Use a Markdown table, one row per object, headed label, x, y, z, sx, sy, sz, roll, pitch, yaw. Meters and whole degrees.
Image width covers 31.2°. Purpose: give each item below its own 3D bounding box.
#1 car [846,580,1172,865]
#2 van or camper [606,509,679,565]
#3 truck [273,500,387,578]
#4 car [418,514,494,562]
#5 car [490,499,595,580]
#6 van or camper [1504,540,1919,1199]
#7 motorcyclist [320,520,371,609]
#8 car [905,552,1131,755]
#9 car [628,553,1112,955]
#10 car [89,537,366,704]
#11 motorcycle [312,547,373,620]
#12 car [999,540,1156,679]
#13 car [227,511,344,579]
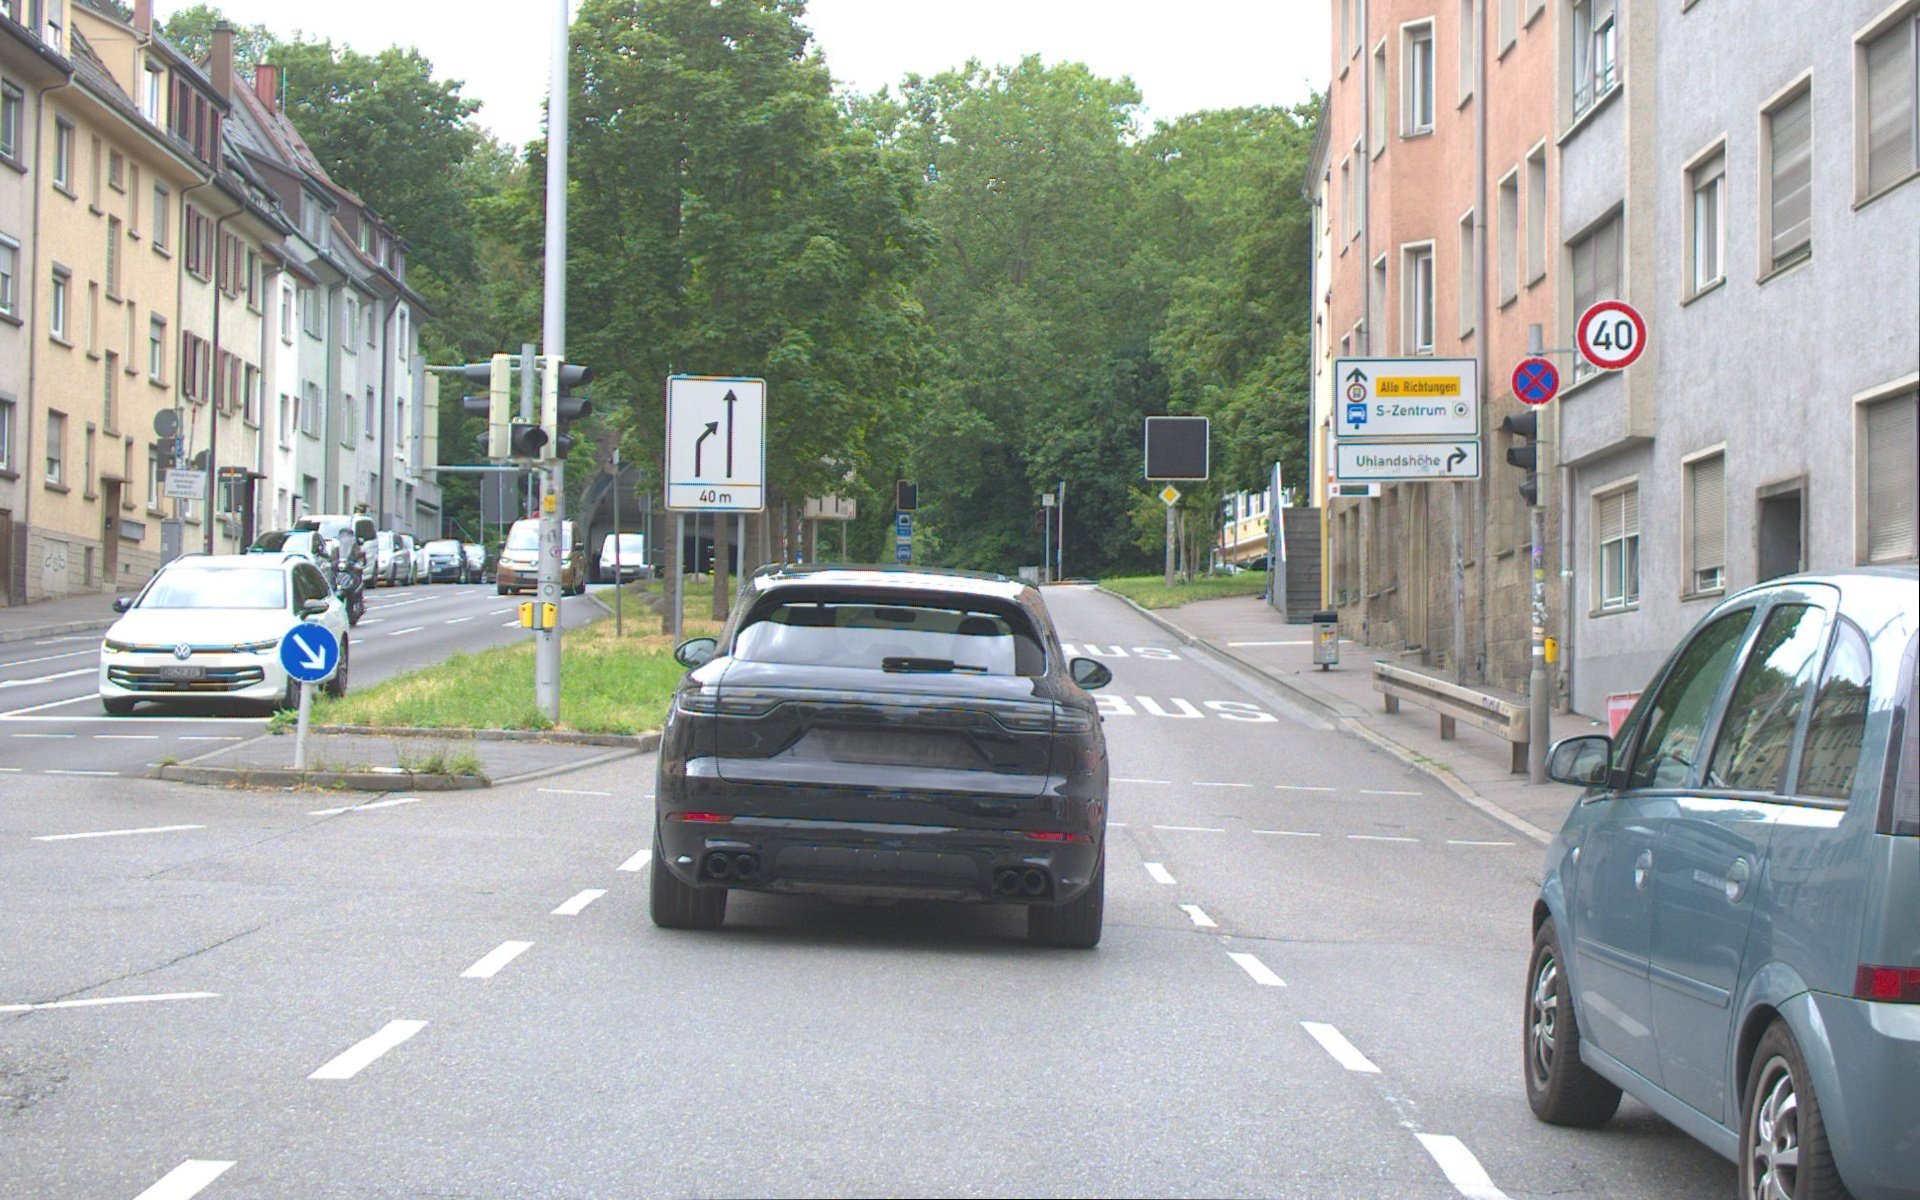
| label | x | y | z | sx | sy | sz | roll | pitch | yaw |
| --- | --- | --- | --- | --- | --- | --- | --- | --- | --- |
| car | 0.334 | 0.720 | 22.496 | 1.934 | 1.647 | 4.000 | 0 | 1 | 1 |
| van or camper | -10.581 | -2.101 | 114.776 | 1.908 | 1.755 | 4.655 | 2 | 1 | 0 |
| truck | -15.976 | -1.547 | 87.371 | 1.993 | 1.913 | 5.348 | 1 | 1 | -1 |
| car | -15.688 | -1.935 | 107.217 | 1.993 | 1.418 | 4.212 | 1 | 1 | -4 |
| car | -9.988 | -1.452 | 82.475 | 1.879 | 1.809 | 4.351 | 2 | 1 | 1 |
| van or camper | 2.523 | 0.675 | 8.346 | 1.735 | 1.572 | 3.646 | 2 | 1 | -1 |
| motorcyclist | -10.300 | -0.593 | 57.627 | 0.672 | 1.470 | 0.662 | 2 | 0 | 1 |
| car | 0.544 | 0.431 | 31.487 | 1.934 | 1.647 | 4.000 | 0 | 2 | 1 |
| car | -0.329 | 0.620 | 16.194 | 1.993 | 1.647 | 4.000 | 0 | 0 | 1 |
| car | -7.012 | 0.143 | 33.336 | 1.745 | 1.462 | 4.586 | 1 | 1 | -1 |
| motorcycle | -10.311 | -0.283 | 57.468 | 0.545 | 1.180 | 2.205 | 2 | 0 | 1 |
| car | 1.497 | 0.083 | 44.569 | 1.934 | 1.647 | 4.000 | 0 | 2 | 1 |
| car | -15.918 | -1.305 | 81.295 | 1.993 | 1.547 | 4.158 | 1 | 1 | -1 |
